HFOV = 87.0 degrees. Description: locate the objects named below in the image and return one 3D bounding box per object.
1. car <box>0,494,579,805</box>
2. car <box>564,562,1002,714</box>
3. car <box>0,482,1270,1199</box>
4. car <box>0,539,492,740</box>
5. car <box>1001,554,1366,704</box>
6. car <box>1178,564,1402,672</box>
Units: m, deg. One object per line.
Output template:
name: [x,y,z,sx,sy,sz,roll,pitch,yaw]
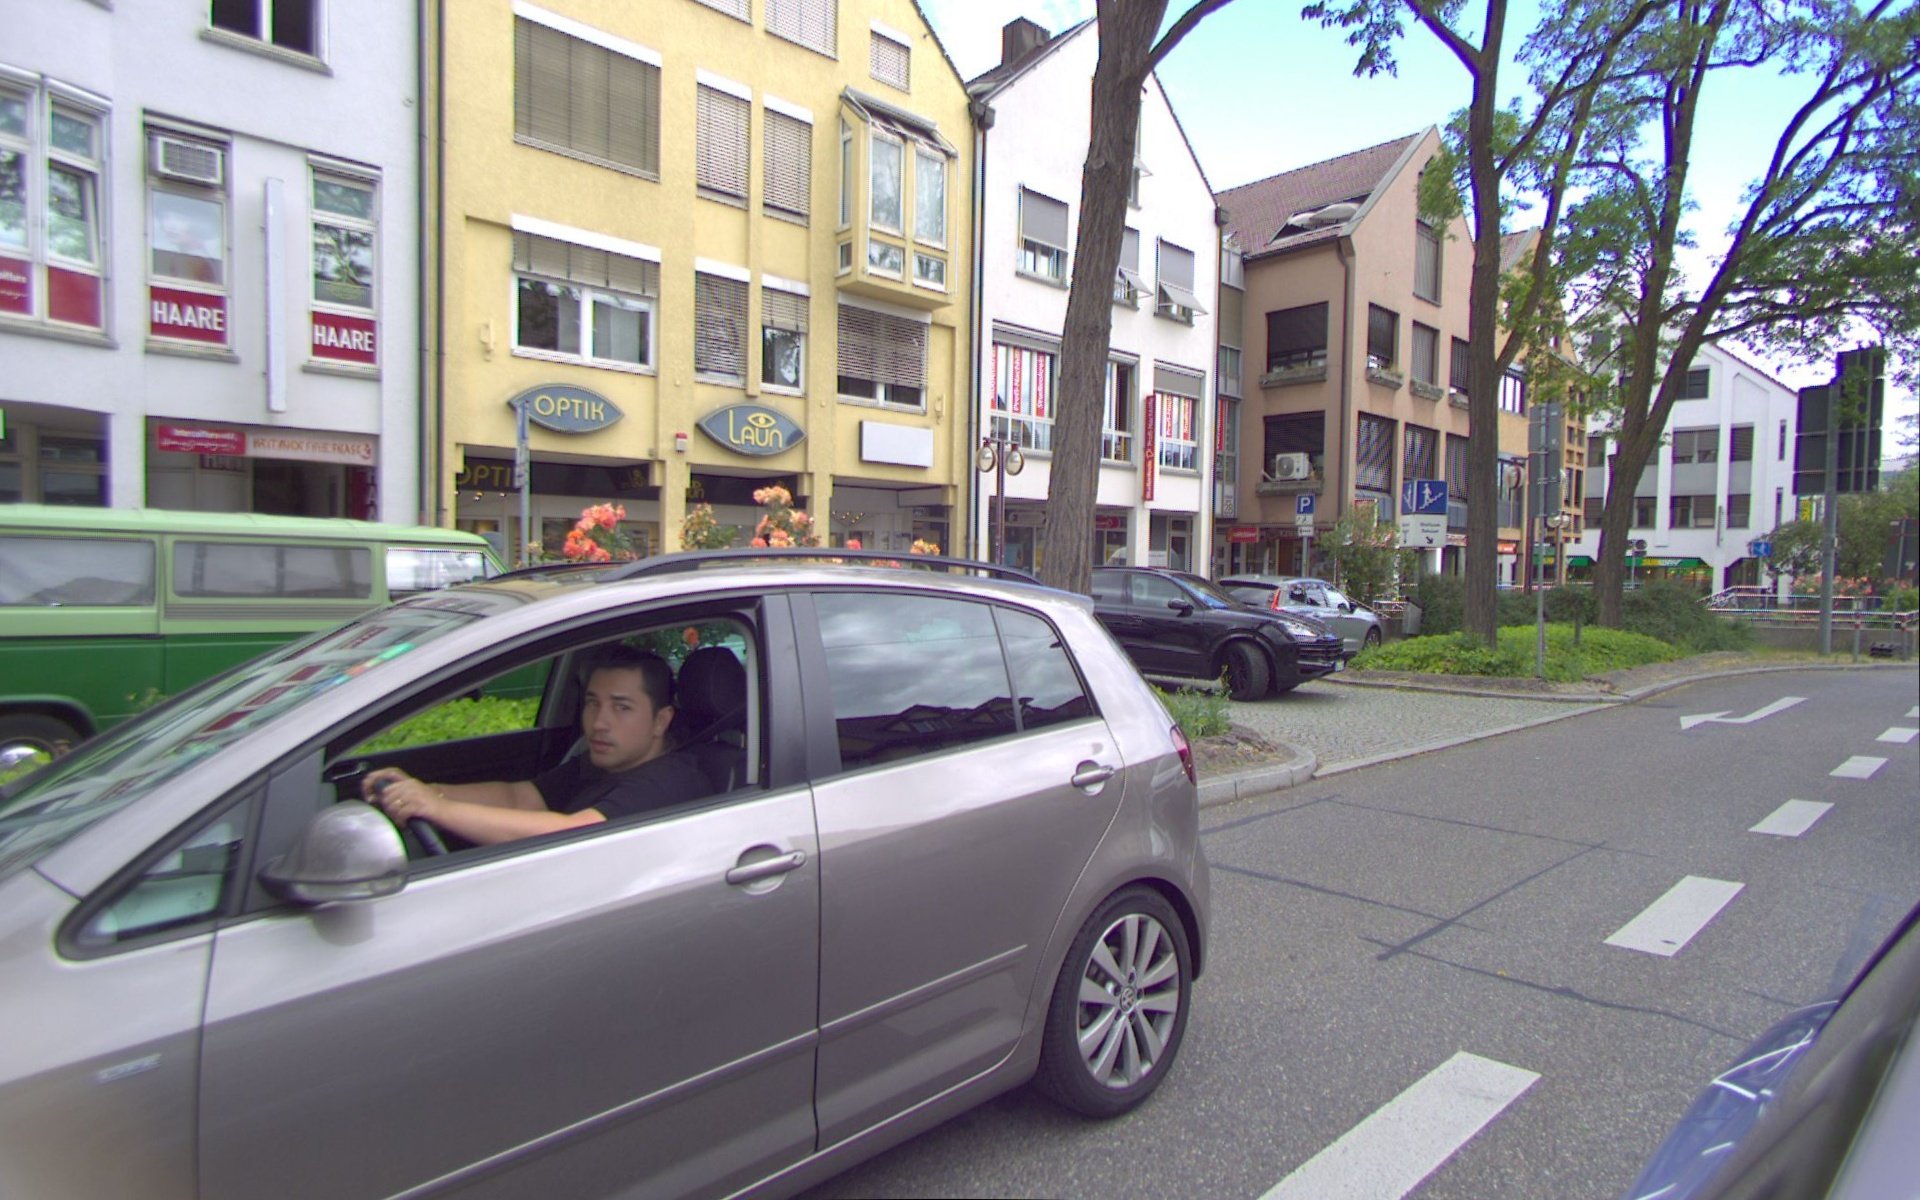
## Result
car: [-5.627,0.224,7.757,4.676,1.898,1.996,-2,4,-44]
car: [-1.810,0.273,11.480,4.675,1.325,1.841,-2,4,-44]
car: [-1.031,0.615,2.635,3.932,1.549,1.799,-1,0,-43]
car: [-7.285,0.240,9.739,4.677,1.566,1.995,-2,4,-45]
car: [3.131,0.289,14.581,4.719,1.699,1.977,4,2,33]
car: [6.197,0.216,18.695,4.677,1.674,1.995,-2,4,-45]
